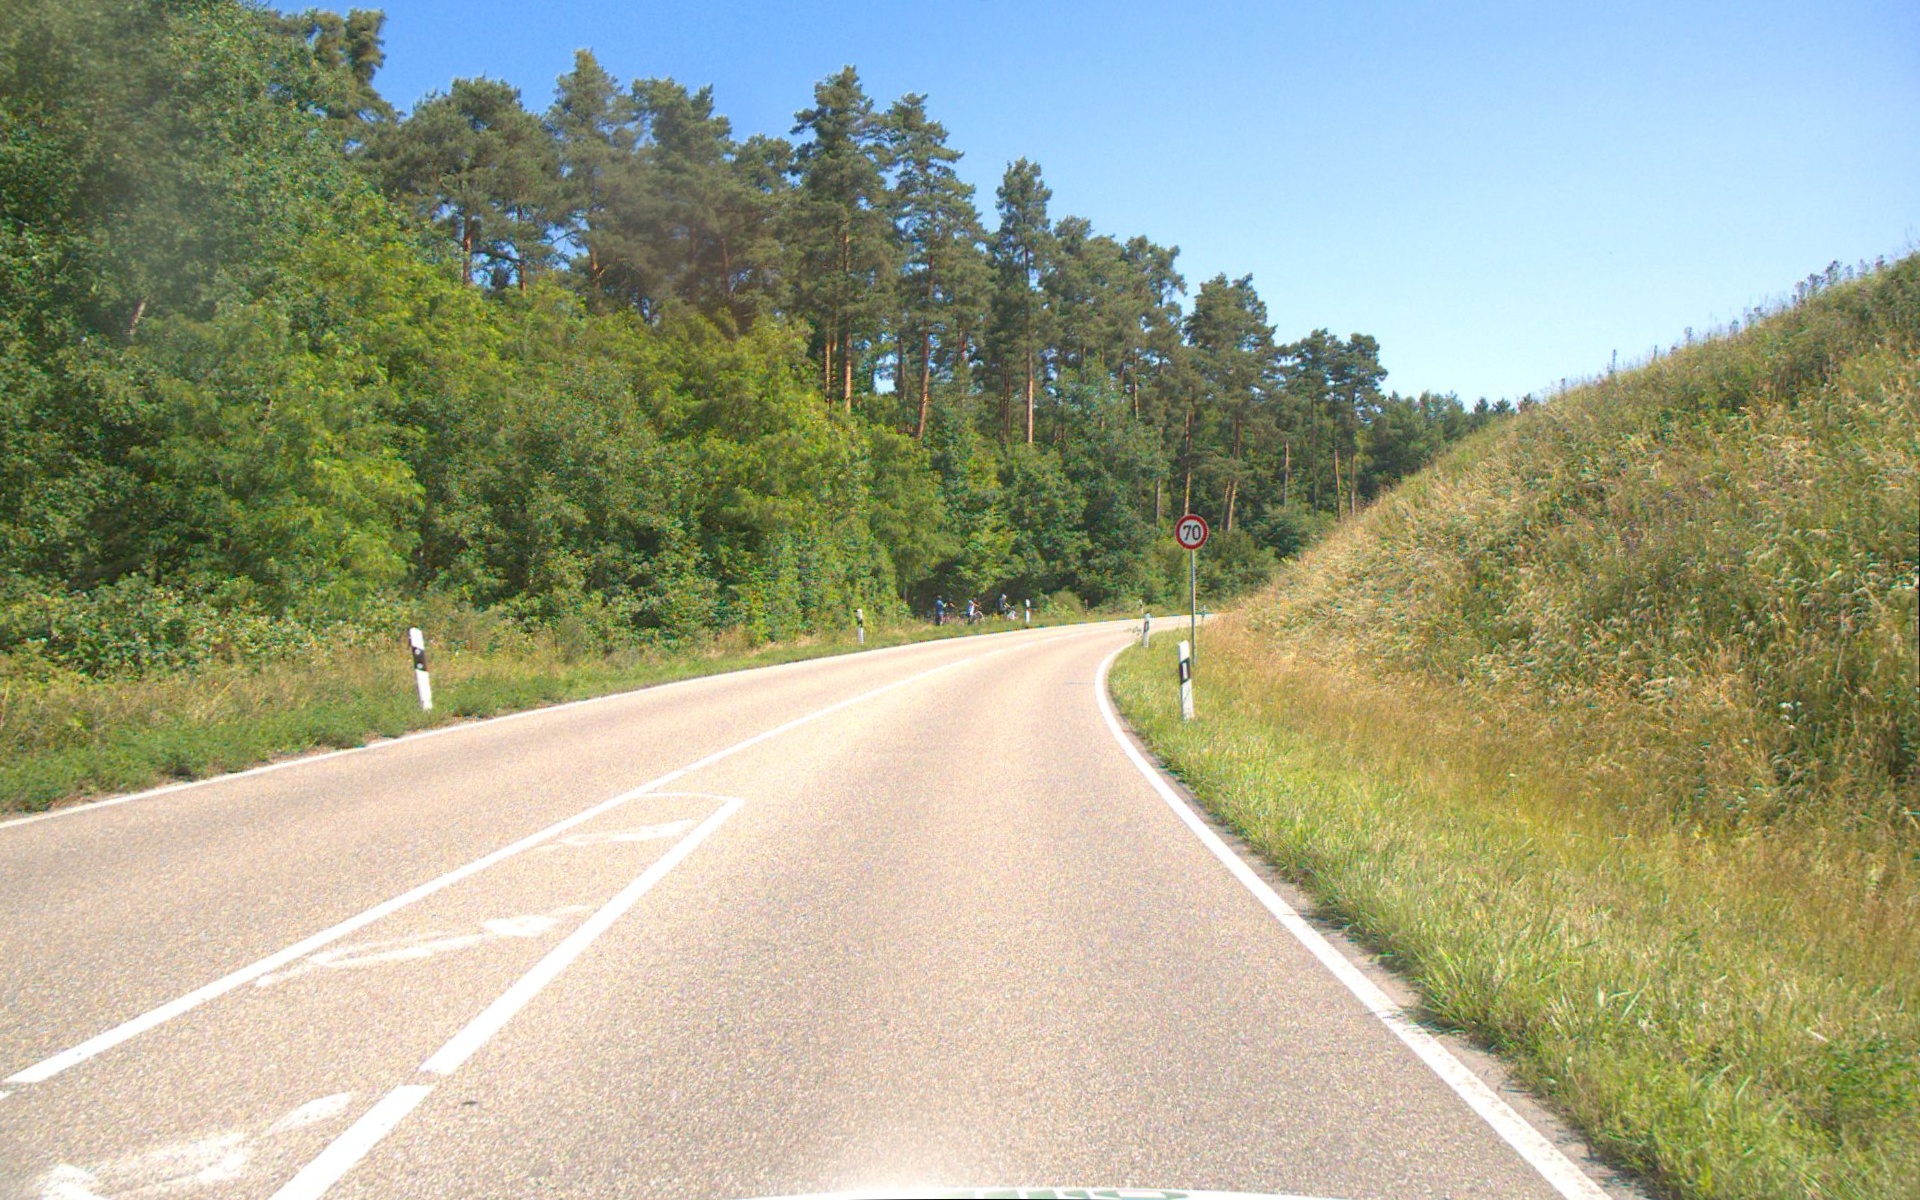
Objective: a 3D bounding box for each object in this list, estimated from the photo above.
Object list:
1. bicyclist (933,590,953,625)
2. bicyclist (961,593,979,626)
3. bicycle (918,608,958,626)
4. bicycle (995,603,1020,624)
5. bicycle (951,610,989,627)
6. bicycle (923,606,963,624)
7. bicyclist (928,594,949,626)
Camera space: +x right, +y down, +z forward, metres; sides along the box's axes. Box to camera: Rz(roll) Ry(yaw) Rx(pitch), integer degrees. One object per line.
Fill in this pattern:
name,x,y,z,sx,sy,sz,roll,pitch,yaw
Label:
bicyclist,-0.846,0.379,83.363,0.838,1.730,0.600,1,-1,-29
bicyclist,0.513,0.507,87.138,0.776,1.749,0.602,1,-1,-22
bicycle,-1.073,0.851,82.392,1.957,0.844,0.600,1,-1,-30
bicycle,2.623,0.758,91.548,1.436,1.105,0.573,-2,2,-44
bicycle,0.527,0.973,87.148,1.951,0.844,0.602,1,-1,-23
bicycle,-0.850,0.757,83.358,1.957,0.844,0.600,1,-1,-30
bicyclist,-1.068,0.485,82.405,0.859,1.572,0.600,1,-1,-29
